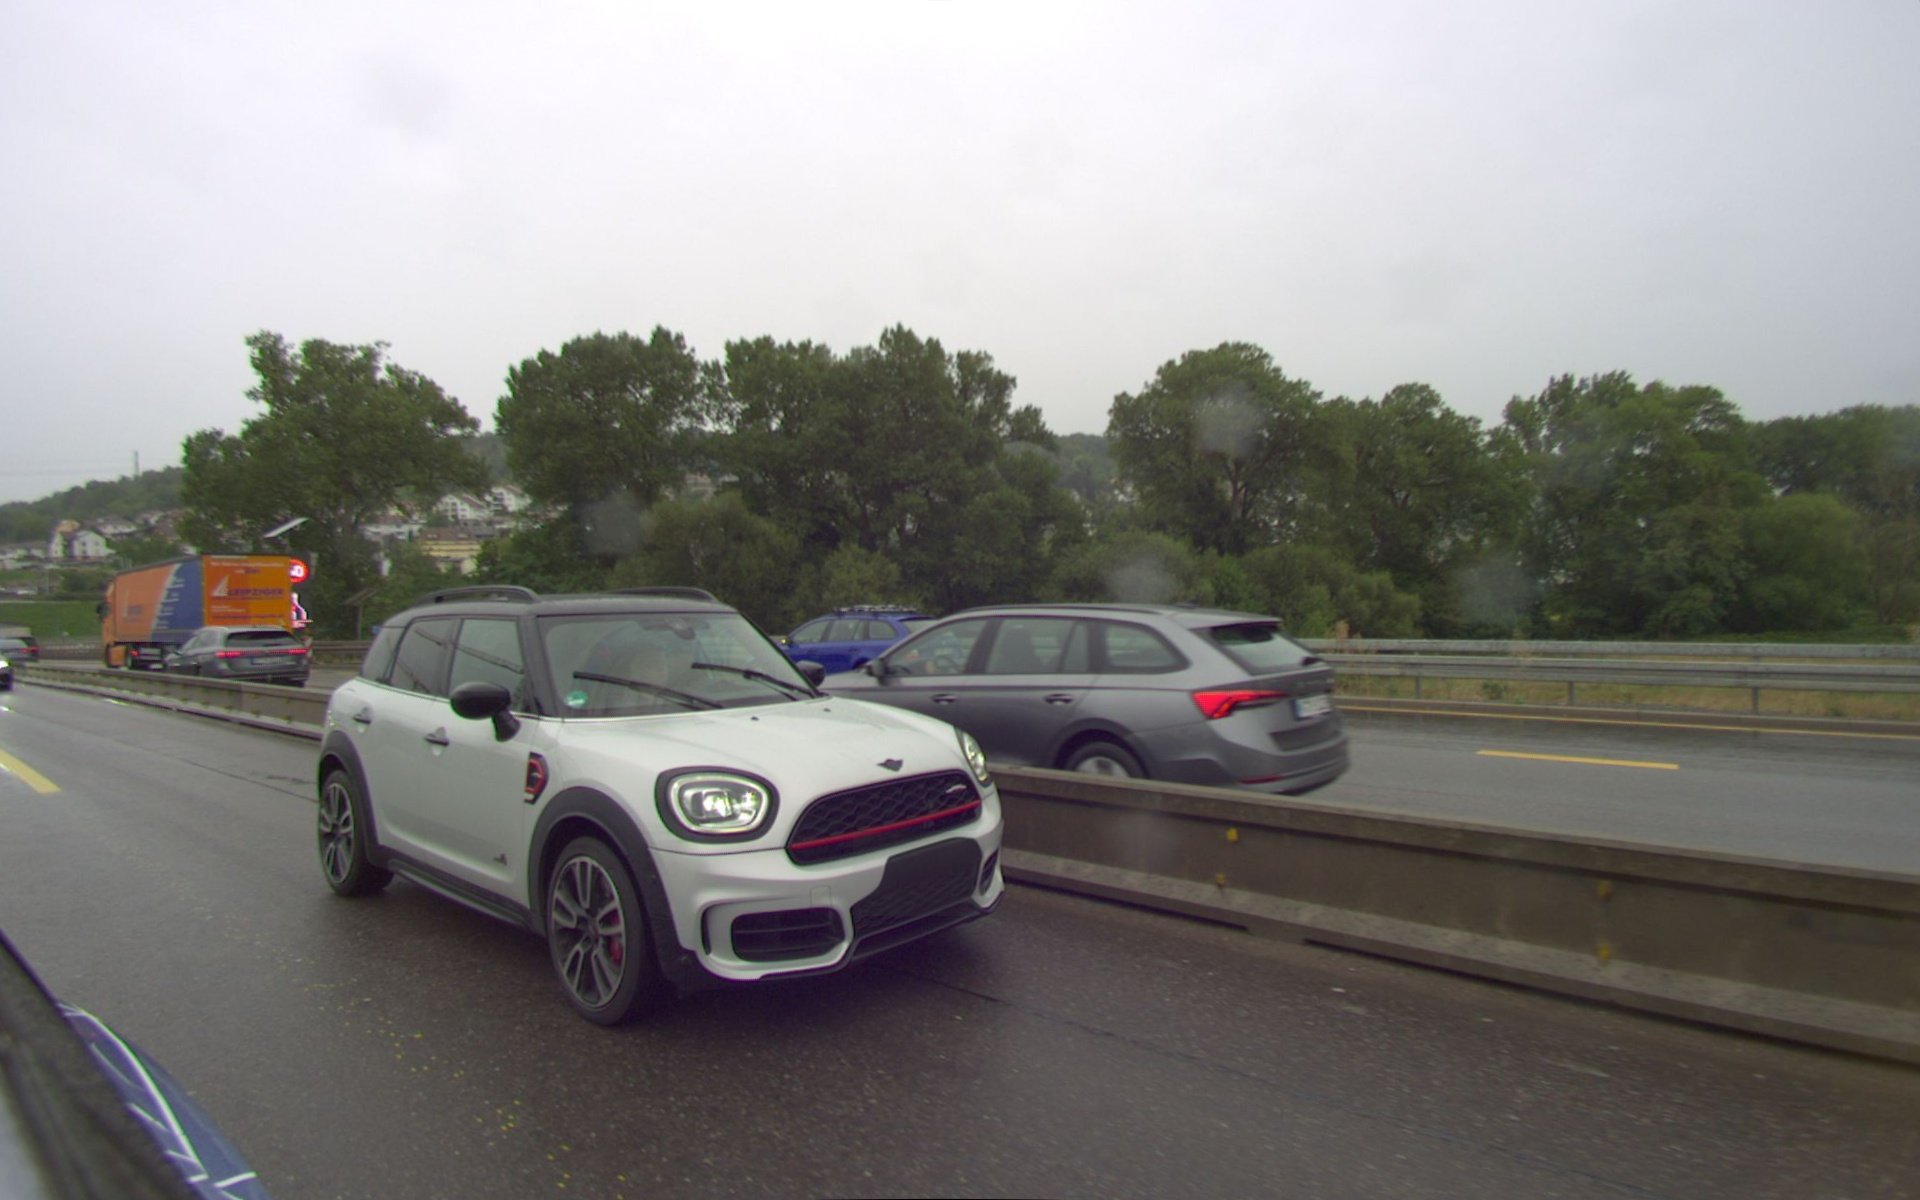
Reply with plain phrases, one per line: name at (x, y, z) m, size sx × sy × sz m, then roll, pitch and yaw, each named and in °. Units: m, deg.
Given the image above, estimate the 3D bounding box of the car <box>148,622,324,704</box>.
car at (-15.584, 1.274, 21.693) m, size 4.742 × 1.521 × 1.953 m, roll -1°, pitch 0°, yaw 40°

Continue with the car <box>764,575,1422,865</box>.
car at (0.704, 0.713, 7.296) m, size 4.409 × 1.460 × 1.887 m, roll -3°, pitch -4°, yaw 42°

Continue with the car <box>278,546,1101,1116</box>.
car at (-1.630, 0.702, 4.972) m, size 4.306 × 1.612 × 1.797 m, roll -2°, pitch -1°, yaw 41°

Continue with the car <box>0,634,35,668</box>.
car at (-59.969, 3.205, 63.852) m, size 3.998 × 2.029 × 1.882 m, roll -1°, pitch -3°, yaw 41°

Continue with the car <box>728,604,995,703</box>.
car at (-1.869, 0.887, 18.200) m, size 4.740 × 1.521 × 1.974 m, roll -1°, pitch 0°, yaw 38°

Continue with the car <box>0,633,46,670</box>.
car at (-42.949, 2.304, 45.829) m, size 4.124 × 1.521 × 1.812 m, roll -1°, pitch 0°, yaw 41°

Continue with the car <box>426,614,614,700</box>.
car at (-8.924, 1.078, 20.353) m, size 4.304 × 1.521 × 1.799 m, roll -1°, pitch 0°, yaw 41°

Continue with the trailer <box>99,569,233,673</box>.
trailer at (-32.941, 0.886, 41.908) m, size 6.348 × 3.948 × 3.236 m, roll -3°, pitch -1°, yaw 41°

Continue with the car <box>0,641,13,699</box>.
car at (-26.653, 1.841, 26.760) m, size 4.481 × 1.449 × 1.926 m, roll -1°, pitch 0°, yaw 41°

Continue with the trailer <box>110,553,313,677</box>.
trailer at (-28.302, 0.685, 37.820) m, size 13.691 × 3.938 × 3.243 m, roll -3°, pitch -1°, yaw 41°
